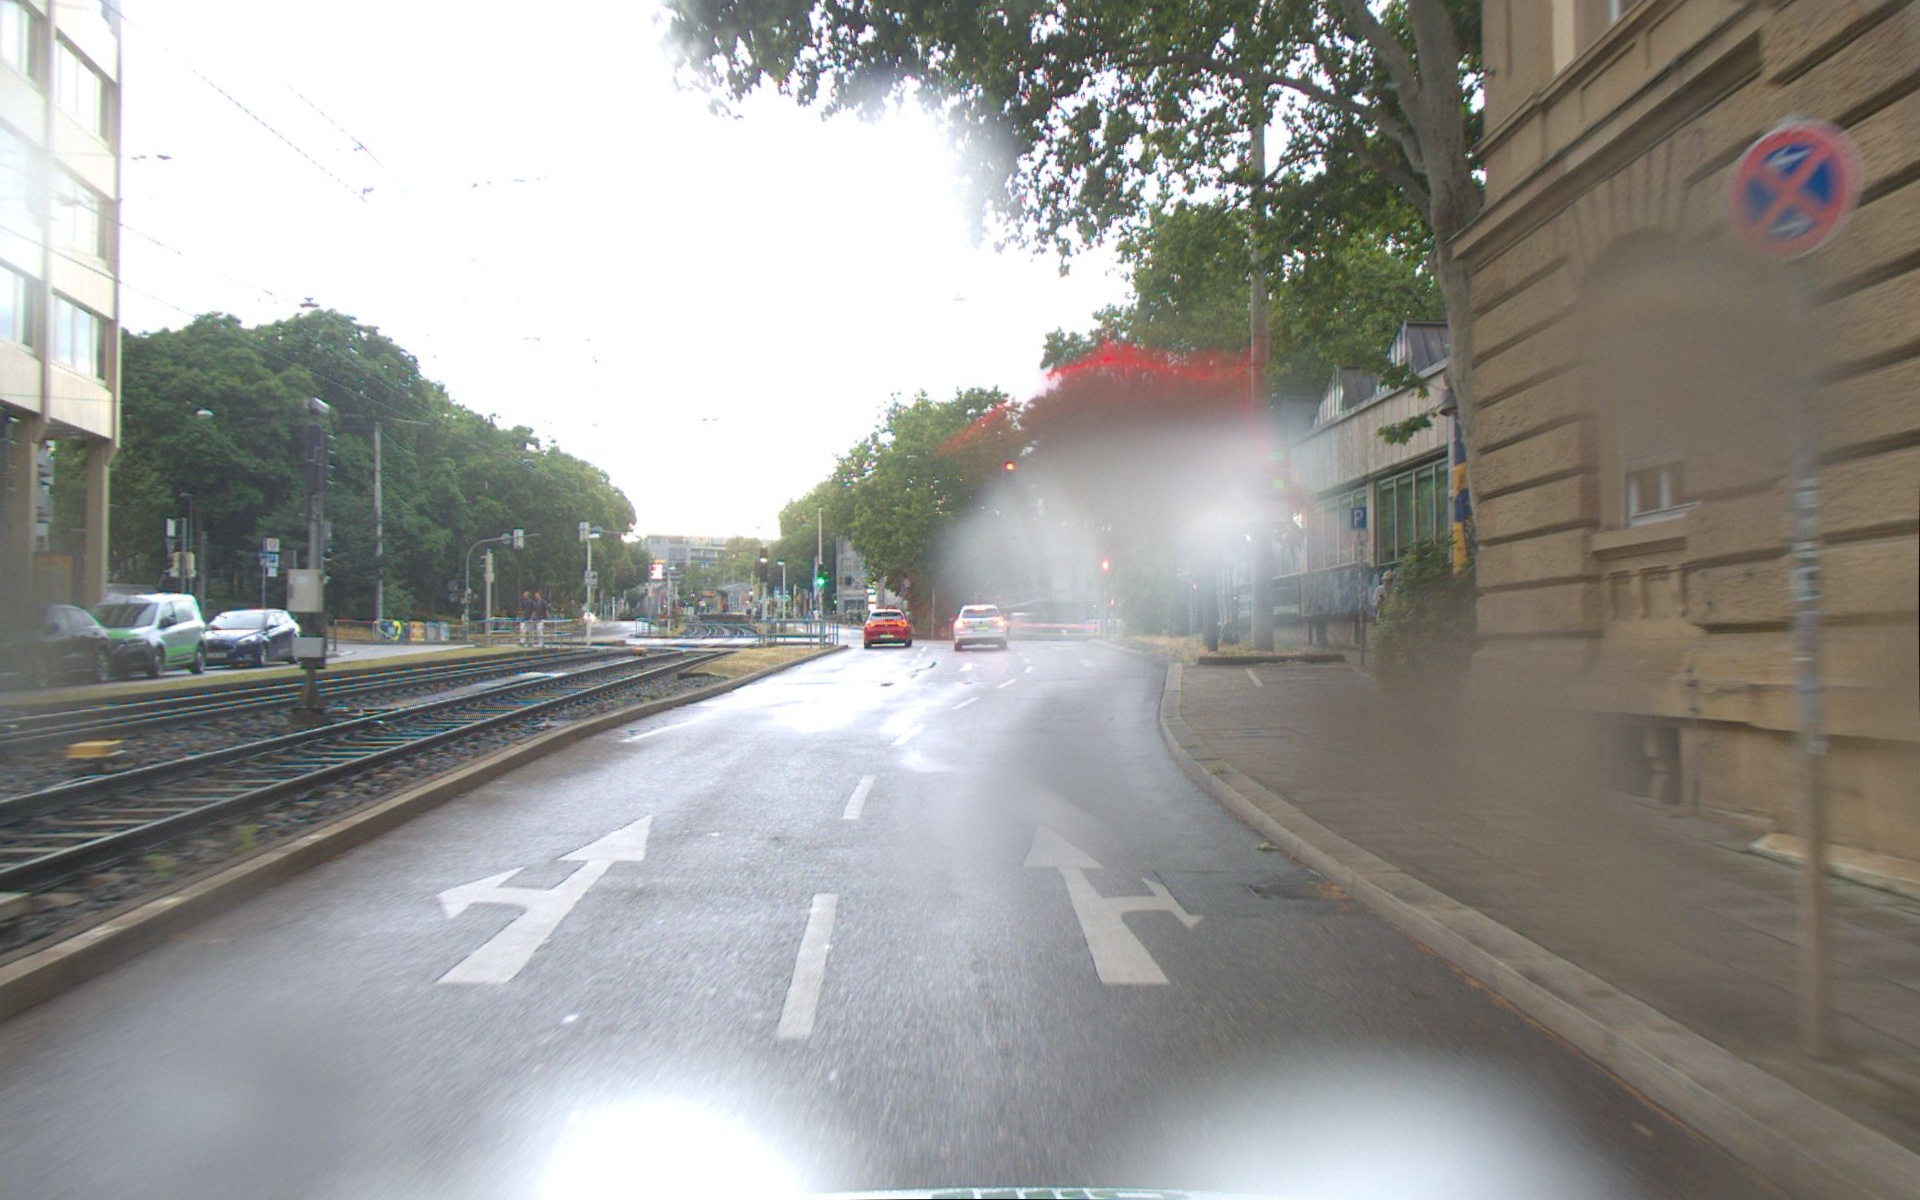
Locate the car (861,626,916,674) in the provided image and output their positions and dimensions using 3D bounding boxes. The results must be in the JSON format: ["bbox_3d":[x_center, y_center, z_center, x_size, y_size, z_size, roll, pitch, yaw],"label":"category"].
[{"bbox_3d":[-2.610,1.853,61.292,1.940,1.669,4.414,1,-2,-2],"label":"car"}]

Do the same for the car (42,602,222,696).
[{"bbox_3d":[-17.962,1.089,36.163,1.955,1.883,4.687,1,-2,-7],"label":"car"}]

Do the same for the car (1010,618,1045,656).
[{"bbox_3d":[5.883,3.306,145.809,2.494,3.189,5.026,1,-2,-4],"label":"car"}]

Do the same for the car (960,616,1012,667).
[{"bbox_3d":[0.876,1.363,55.211,1.644,1.604,4.253,-1,-1,1],"label":"car"}]

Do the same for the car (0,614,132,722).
[{"bbox_3d":[-17.640,1.257,31.302,1.955,1.883,4.687,1,-2,-7],"label":"car"}]

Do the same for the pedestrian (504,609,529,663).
[{"bbox_3d":[-15.327,1.252,57.188,0.631,1.819,0.803,2,-3,-27],"label":"pedestrian"}]

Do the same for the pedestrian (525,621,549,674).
[{"bbox_3d":[-14.714,1.667,57.517,0.630,1.819,0.805,2,-3,-22],"label":"pedestrian"}]

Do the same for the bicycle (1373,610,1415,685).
[{"bbox_3d":[7.426,0.811,28.314,0.605,1.242,0.911,-2,-1,12],"label":"bicycle"}]

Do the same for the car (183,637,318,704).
[{"bbox_3d":[-18.360,1.817,43.014,1.955,1.610,4.542,1,-2,-7],"label":"car"}]

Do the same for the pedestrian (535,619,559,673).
[{"bbox_3d":[-14.173,1.580,56.721,0.630,1.819,0.805,2,-3,-22],"label":"pedestrian"}]

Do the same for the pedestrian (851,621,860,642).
[{"bbox_3d":[-9.500,2.835,150.127,0.743,1.855,0.698,2,-2,-12],"label":"pedestrian"}]

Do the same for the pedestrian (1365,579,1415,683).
[{"bbox_3d":[7.599,0.548,29.256,0.703,1.772,1.020,-3,-1,11],"label":"pedestrian"}]
